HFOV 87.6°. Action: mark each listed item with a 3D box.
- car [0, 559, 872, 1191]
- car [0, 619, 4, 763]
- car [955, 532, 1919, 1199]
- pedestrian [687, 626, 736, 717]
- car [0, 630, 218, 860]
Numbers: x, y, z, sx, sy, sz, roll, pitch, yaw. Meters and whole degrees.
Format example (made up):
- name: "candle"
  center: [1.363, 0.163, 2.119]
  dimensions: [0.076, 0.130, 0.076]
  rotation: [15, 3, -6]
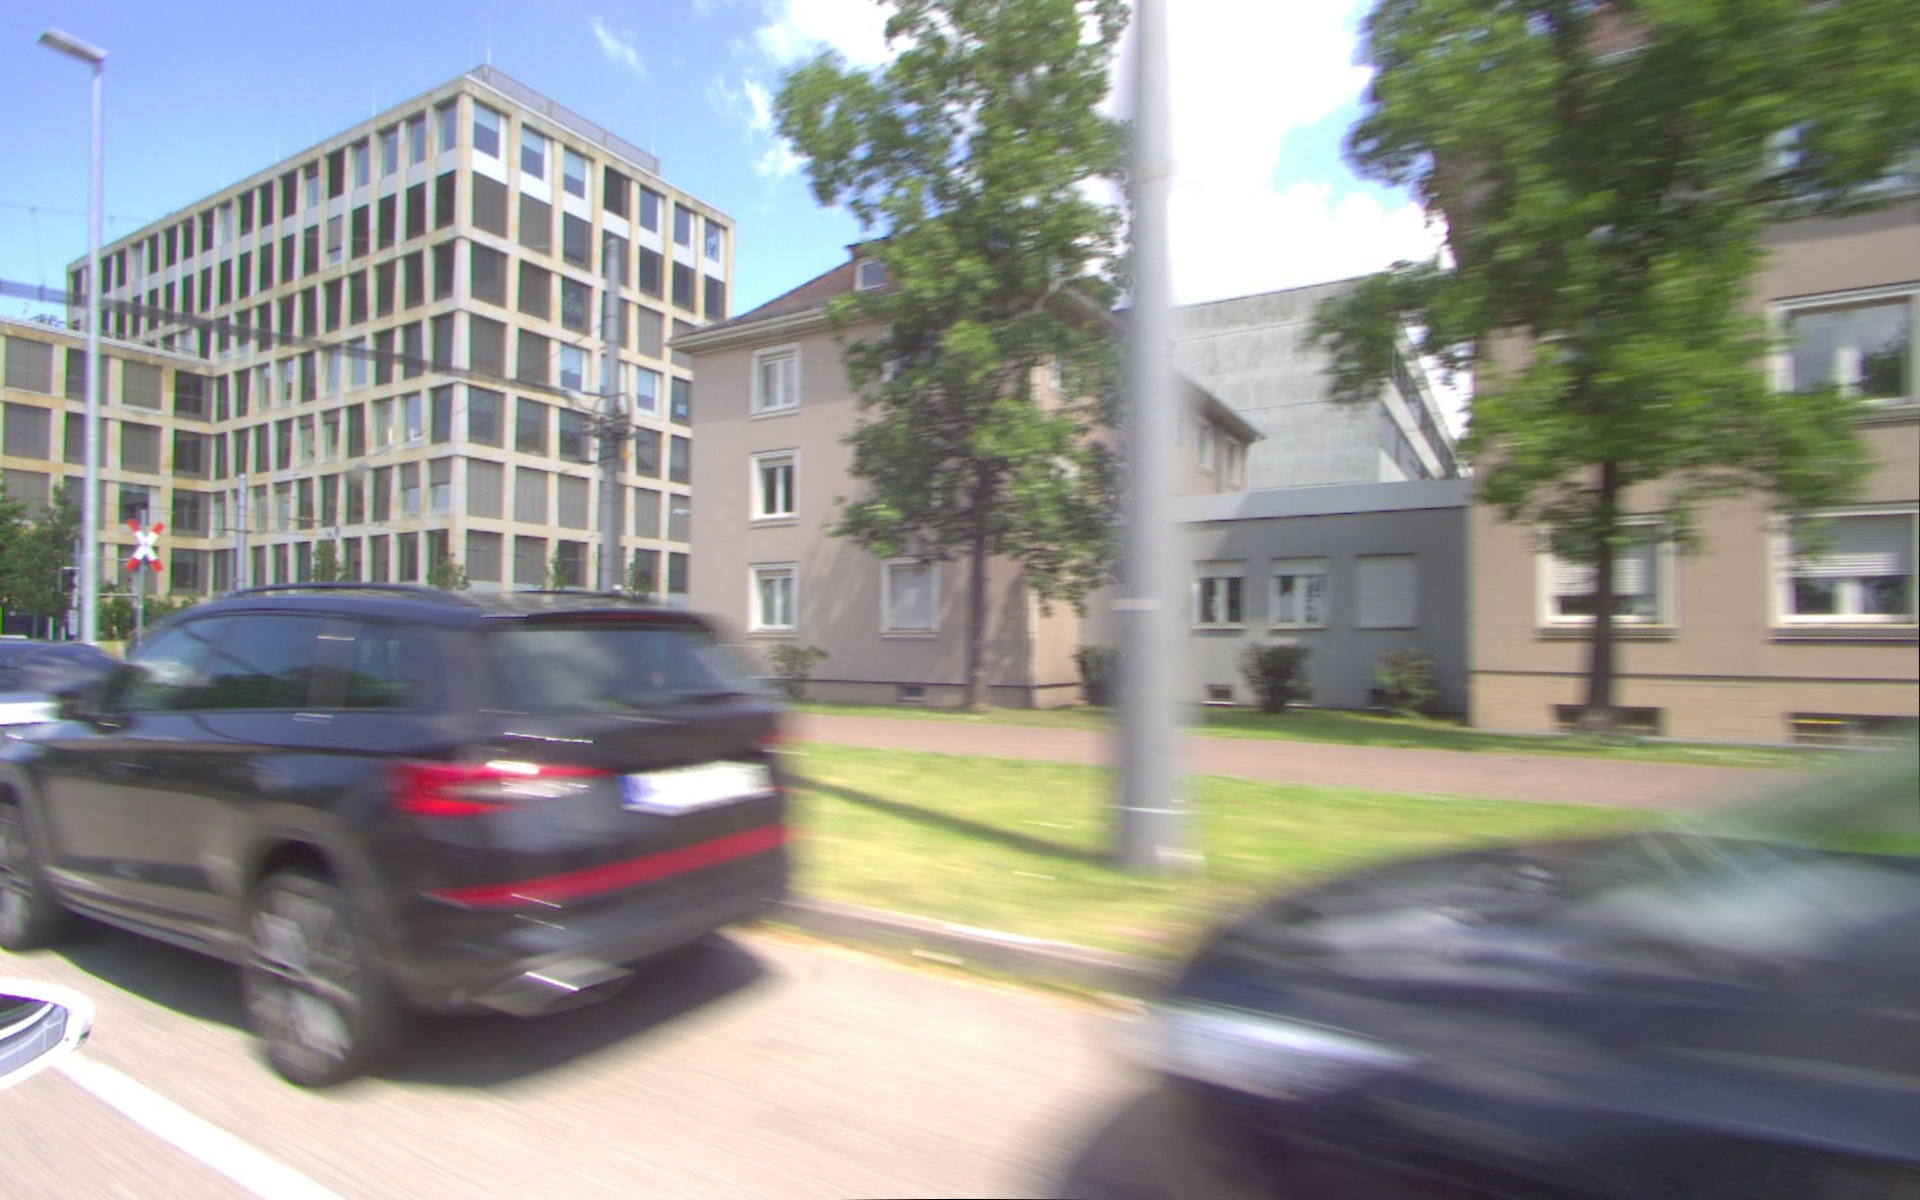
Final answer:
- name: "car"
  center: [-2.801, 0.778, 4.657]
  dimensions: [4.602, 1.683, 1.814]
  rotation: [-1, -1, 31]
- name: "car"
  center: [-12.676, 0.993, 11.151]
  dimensions: [4.354, 1.560, 1.777]
  rotation: [-1, -2, 30]
- name: "car"
  center: [2.262, 0.698, 1.492]
  dimensions: [4.380, 1.549, 1.641]
  rotation: [-1, -2, 33]
- name: "pedestrian"
  center: [-4.598, 1.307, 18.531]
  dimensions: [0.615, 1.628, 0.622]
  rotation: [-1, -1, 29]
- name: "car"
  center: [-8.187, 0.990, 8.088]
  dimensions: [4.917, 1.473, 1.814]
  rotation: [-1, -2, 31]
